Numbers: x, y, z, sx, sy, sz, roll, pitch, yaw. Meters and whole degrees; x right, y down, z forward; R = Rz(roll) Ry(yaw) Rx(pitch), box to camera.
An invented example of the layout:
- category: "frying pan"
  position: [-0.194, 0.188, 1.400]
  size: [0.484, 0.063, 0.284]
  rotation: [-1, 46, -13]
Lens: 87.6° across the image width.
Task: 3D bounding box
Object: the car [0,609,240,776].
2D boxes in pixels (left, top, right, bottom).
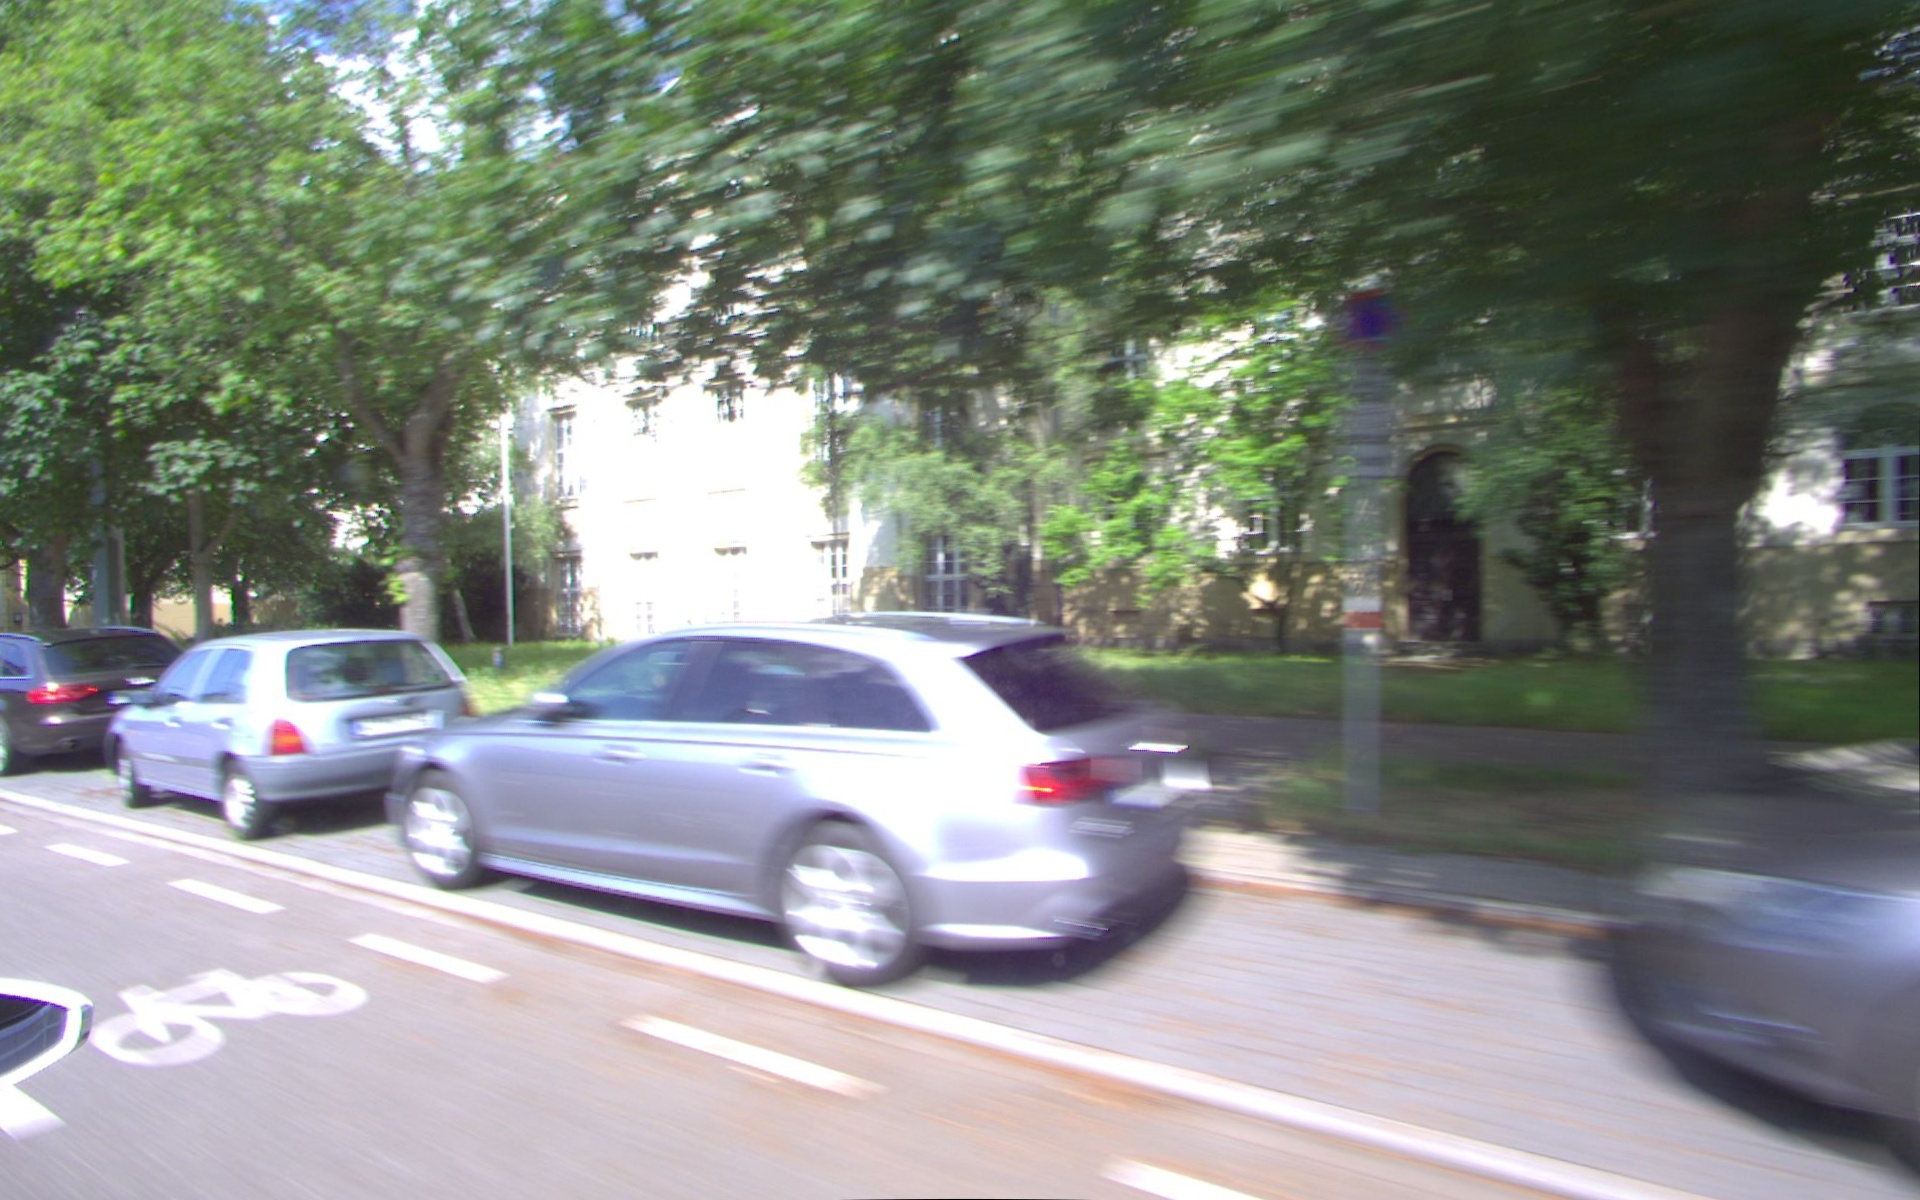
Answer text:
- category: "car"
  position: [-10.501, 0.953, 11.358]
  size: [4.757, 1.487, 1.828]
  rotation: [-2, 2, 28]

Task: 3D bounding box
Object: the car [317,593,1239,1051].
- category: "car"
  position: [-1.222, 0.772, 5.463]
  size: [4.976, 1.461, 1.824]
  rotation: [-1, 3, 32]

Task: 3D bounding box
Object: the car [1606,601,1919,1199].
- category: "car"
  position: [4.255, 0.752, 2.274]
  size: [4.588, 1.420, 1.824]
  rotation: [-1, 3, 31]

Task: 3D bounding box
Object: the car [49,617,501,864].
- category: "car"
  position: [-5.628, 0.920, 8.098]
  size: [3.959, 1.451, 1.630]
  rotation: [0, 3, 34]
